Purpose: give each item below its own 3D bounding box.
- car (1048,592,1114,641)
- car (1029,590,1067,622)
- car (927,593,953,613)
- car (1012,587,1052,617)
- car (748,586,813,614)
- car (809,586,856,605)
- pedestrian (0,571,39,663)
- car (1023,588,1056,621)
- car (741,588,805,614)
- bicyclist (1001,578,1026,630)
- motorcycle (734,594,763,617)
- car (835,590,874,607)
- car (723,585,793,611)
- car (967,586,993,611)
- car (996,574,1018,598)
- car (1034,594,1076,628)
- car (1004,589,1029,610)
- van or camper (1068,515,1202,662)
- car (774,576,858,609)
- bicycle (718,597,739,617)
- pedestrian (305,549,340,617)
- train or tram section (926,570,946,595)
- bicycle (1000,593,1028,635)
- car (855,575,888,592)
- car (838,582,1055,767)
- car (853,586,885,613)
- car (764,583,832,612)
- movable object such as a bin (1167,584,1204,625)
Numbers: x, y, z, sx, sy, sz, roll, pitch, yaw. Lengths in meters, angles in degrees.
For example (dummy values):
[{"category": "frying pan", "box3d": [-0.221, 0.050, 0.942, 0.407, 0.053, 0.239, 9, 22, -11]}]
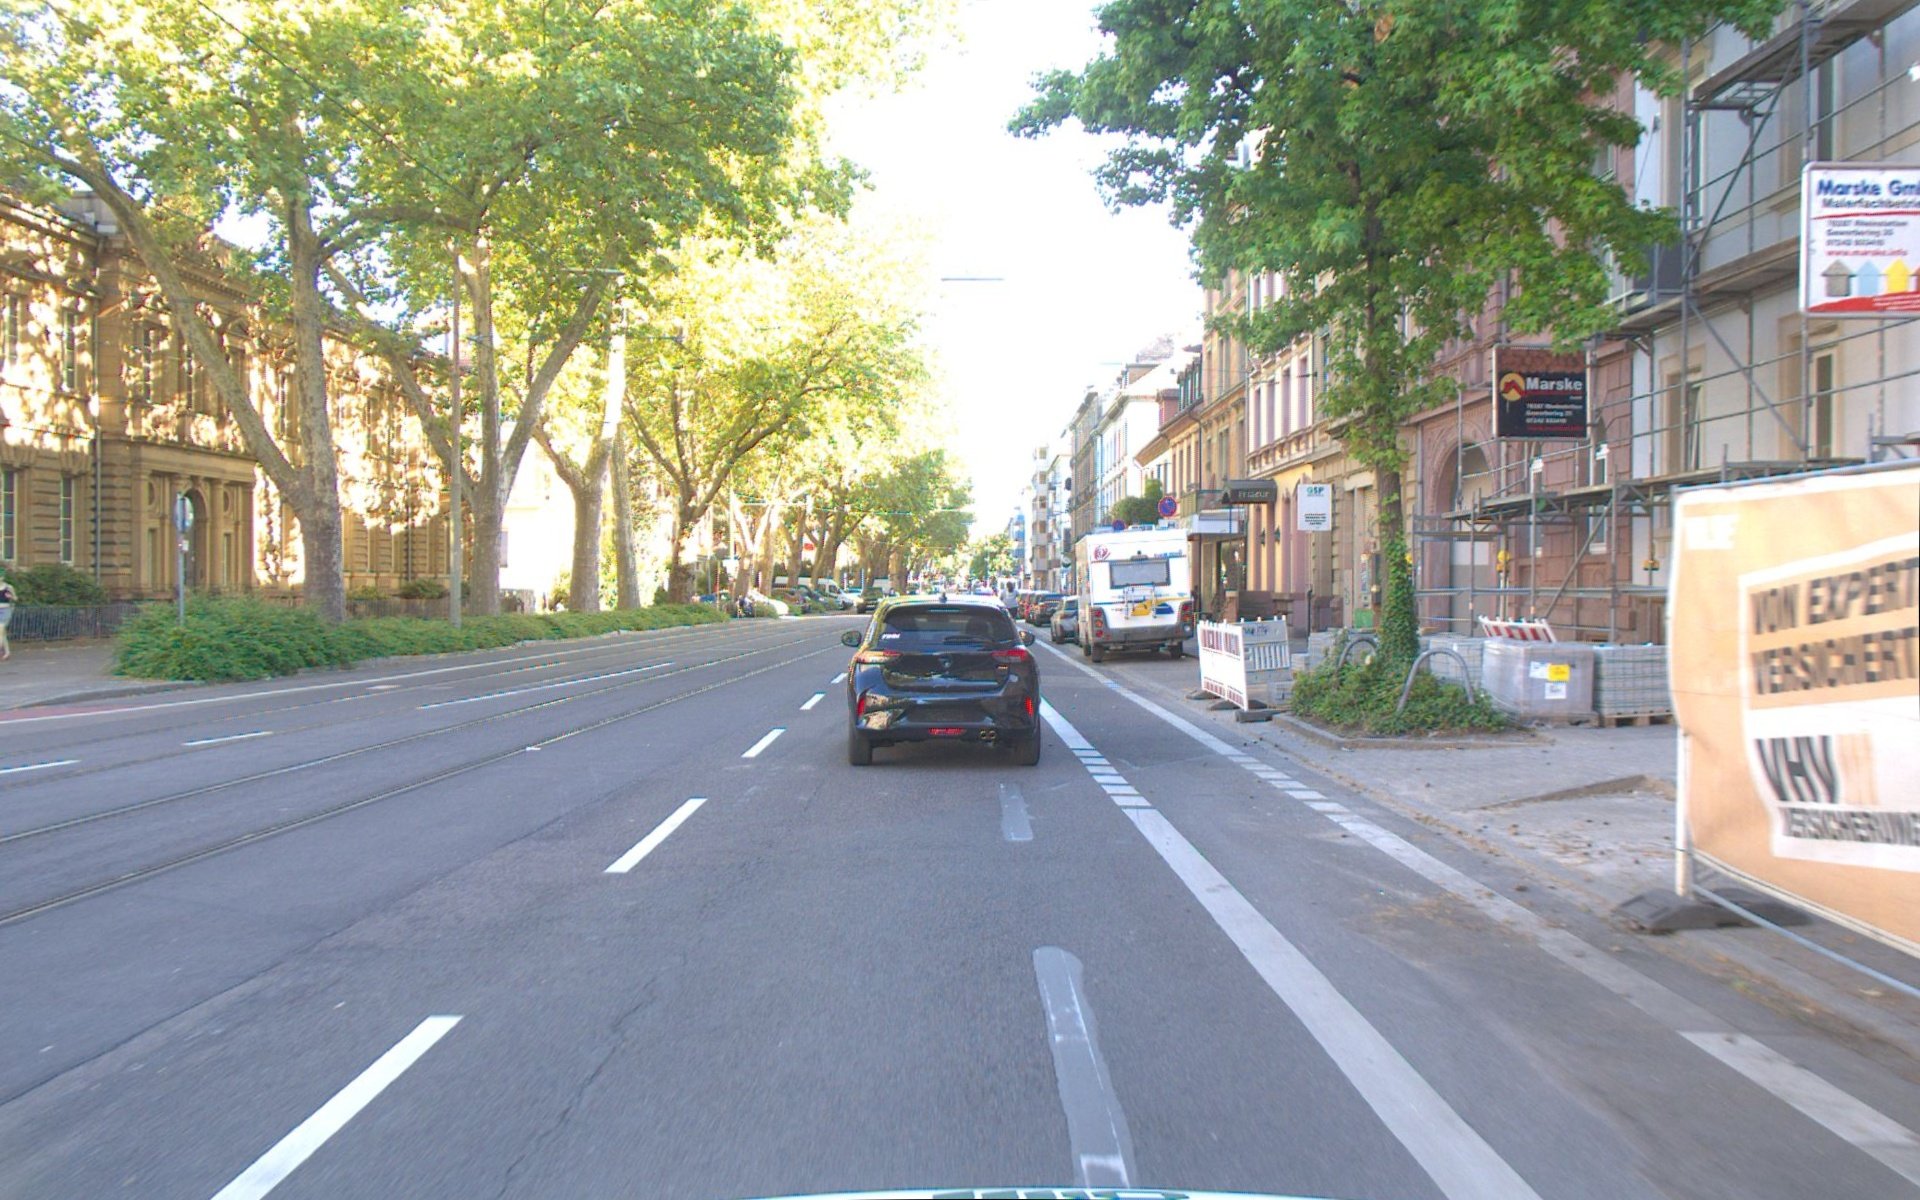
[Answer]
[{"category": "car", "box3d": [3.850, 0.500, 53.167, 1.772, 1.460, 4.665, -1, 0, 0]}, {"category": "car", "box3d": [4.209, 0.258, 79.582, 1.617, 1.481, 3.868, -1, 0, 1]}, {"category": "car", "box3d": [-1.406, 0.221, 115.364, 1.773, 1.361, 3.933, 0, 0, 0]}, {"category": "car", "box3d": [4.138, 0.099, 95.453, 1.843, 1.613, 3.931, -3, 0, -3]}, {"category": "car", "box3d": [-11.655, -0.013, 107.483, 3.913, 1.655, 1.879, 2, 0, 0]}, {"category": "car", "box3d": [-10.844, -0.381, 141.043, 3.841, 1.524, 1.676, 2, 0, -2]}, {"category": "pedestrian", "box3d": [-17.804, 0.314, 31.095, 0.622, 1.727, 0.655, 1, 0, -7]}, {"category": "car", "box3d": [4.014, 0.212, 84.018, 1.600, 1.573, 3.576, -1, 0, 2]}, {"category": "car", "box3d": [-11.887, 0.059, 105.264, 3.839, 1.467, 1.749, 2, 0, 1]}, {"category": "bicyclist", "box3d": [1.861, 0.130, 57.702, 0.831, 1.770, 1.162, 1, 0, -1]}, {"category": "motorcycle", "box3d": [-10.889, 0.259, 85.354, 0.865, 1.167, 2.392, 1, 0, 8]}, {"category": "car", "box3d": [-10.519, -0.156, 165.410, 3.841, 1.524, 1.676, 2, 0, -2]}, {"category": "car", "box3d": [-11.772, -0.122, 96.684, 3.839, 1.488, 1.806, 0, 0, 1]}, {"category": "car", "box3d": [1.432, -0.141, 118.386, 1.772, 1.772, 3.934, 0, 0, 2]}, {"category": "car", "box3d": [4.605, -1.358, 162.163, 2.033, 2.257, 4.934, -3, 0, 2]}, {"category": "car", "box3d": [4.112, 0.445, 72.212, 1.659, 1.417, 4.495, -1, 0, 2]}, {"category": "car", "box3d": [4.260, -0.051, 124.567, 1.669, 1.481, 3.699, -3, 0, 4]}, {"category": "van or camper", "box3d": [4.020, -0.273, 39.525, 2.426, 3.023, 7.886, -3, 0, 2]}, {"category": "car", "box3d": [-11.695, -0.627, 134.414, 6.492, 2.451, 2.458, 2, 0, 0]}, {"category": "bicycle", "box3d": [-11.952, 0.353, 85.468, 0.529, 0.957, 2.036, 1, 0, 8]}, {"category": "pedestrian", "box3d": [-17.947, -0.471, 46.568, 0.705, 1.882, 0.836, 1, 0, -7]}, {"category": "train or tram section", "box3d": [-3.729, -2.736, 263.167, 2.678, 3.746, 12.719, 0, 0, 1]}, {"category": "bicycle", "box3d": [1.863, 0.472, 57.652, 0.843, 1.431, 2.524, 1, 0, -1]}, {"category": "car", "box3d": [-10.431, -1.922, 195.817, 3.841, 1.821, 1.676, 2, 0, -2]}, {"category": "car", "box3d": [-0.101, 0.587, 15.256, 1.757, 1.466, 3.531, 1, 1, 0]}, {"category": "car", "box3d": [-5.886, -0.059, 107.413, 1.828, 1.658, 4.560, 0, 1, 0]}, {"category": "car", "box3d": [-11.690, -0.192, 119.377, 4.578, 1.957, 1.980, 2, 0, 1]}, {"category": "movable object such as a bin", "box3d": [8.671, 0.164, 63.618, 1.267, 1.547, 1.286, 1, 0, 0]}]
